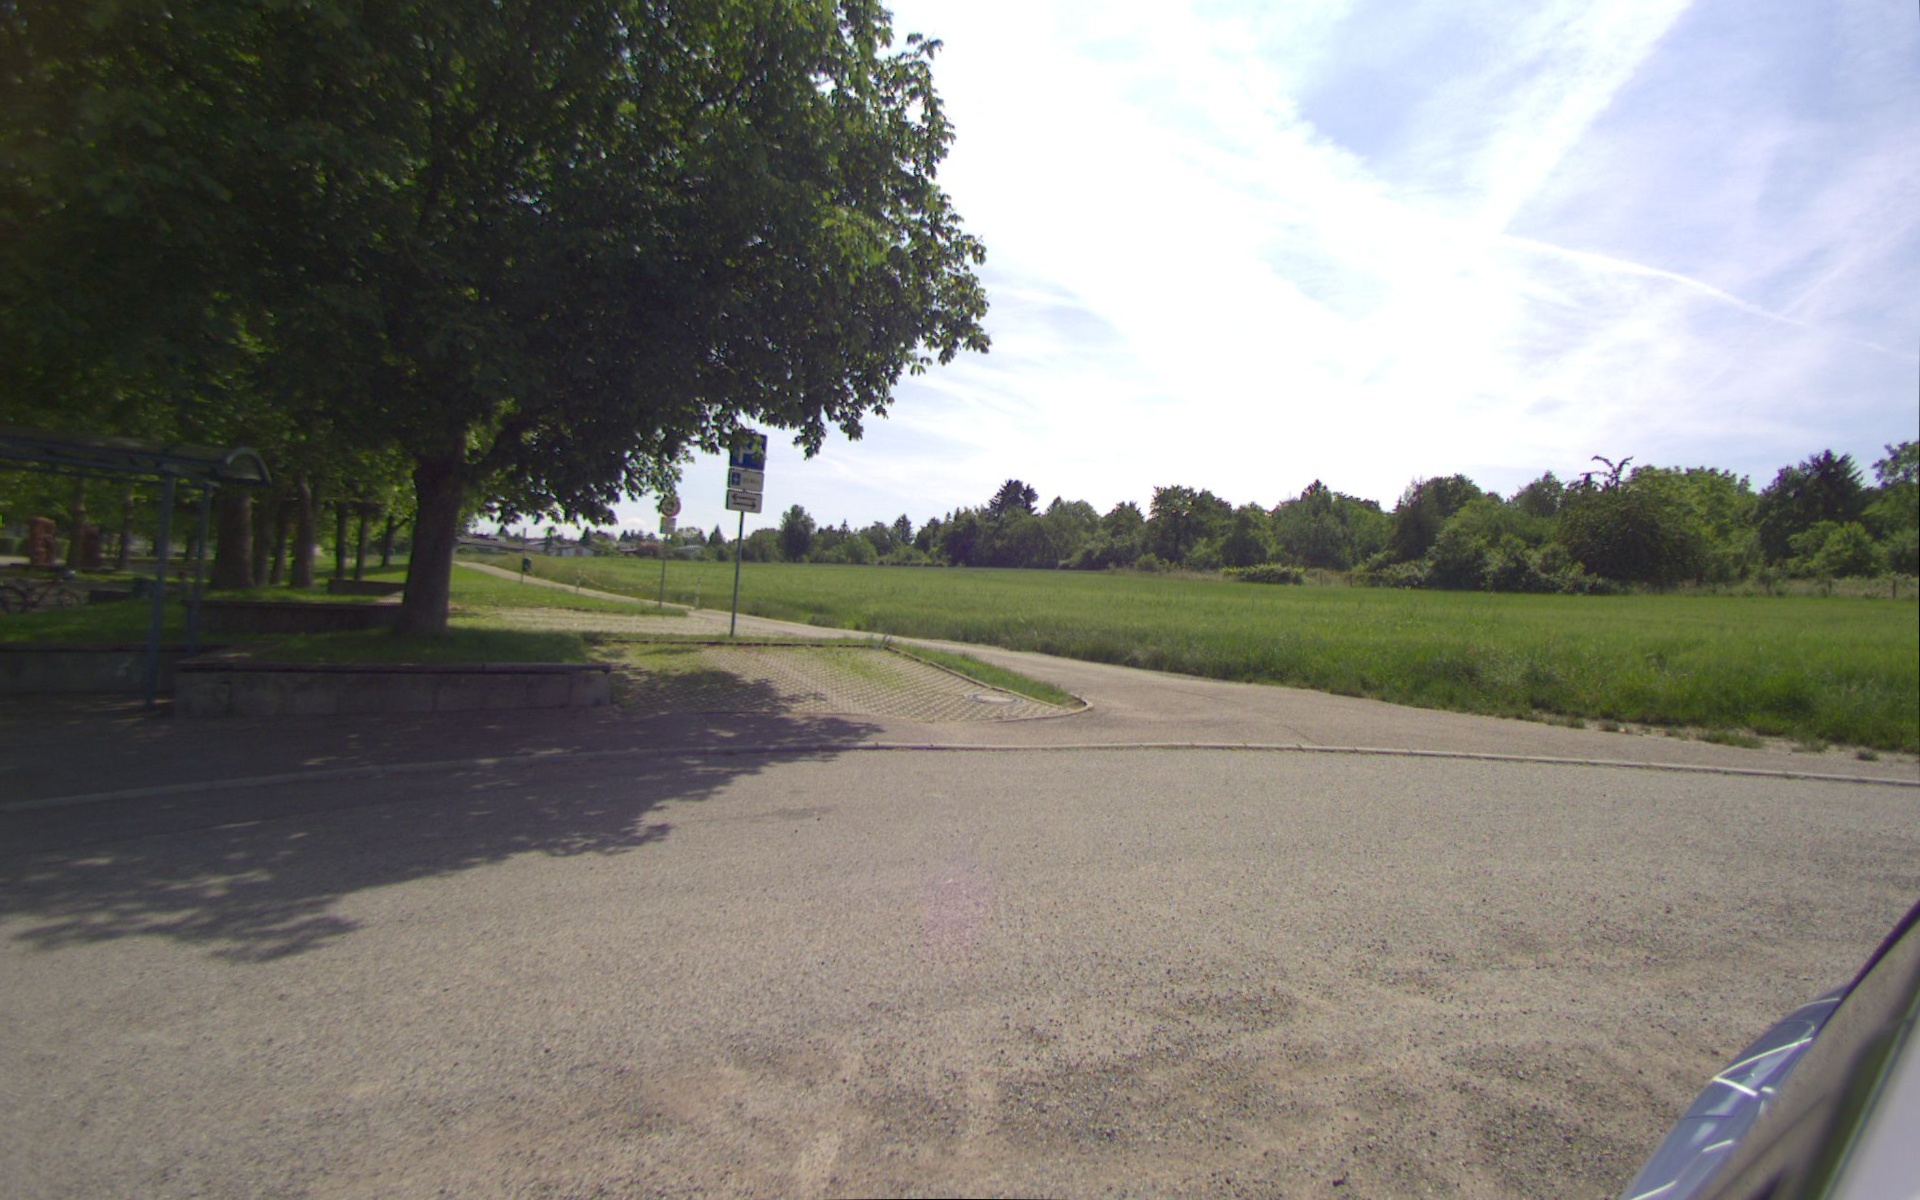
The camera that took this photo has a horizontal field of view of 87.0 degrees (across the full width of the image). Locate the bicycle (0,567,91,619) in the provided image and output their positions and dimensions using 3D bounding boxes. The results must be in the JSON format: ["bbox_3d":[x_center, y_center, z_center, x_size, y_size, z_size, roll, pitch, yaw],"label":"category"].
[{"bbox_3d":[-19.614,-0.143,21.248,2.034,1.052,0.571,2,0,-44],"label":"bicycle"}]

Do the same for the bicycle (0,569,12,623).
[{"bbox_3d":[-18.773,-0.074,19.255,0.584,1.052,1.895,2,0,-28],"label":"bicycle"}]

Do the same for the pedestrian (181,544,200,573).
[{"bbox_3d":[-56.162,-3.050,73.865,0.688,2.039,0.823,2,-1,38],"label":"pedestrian"}]
